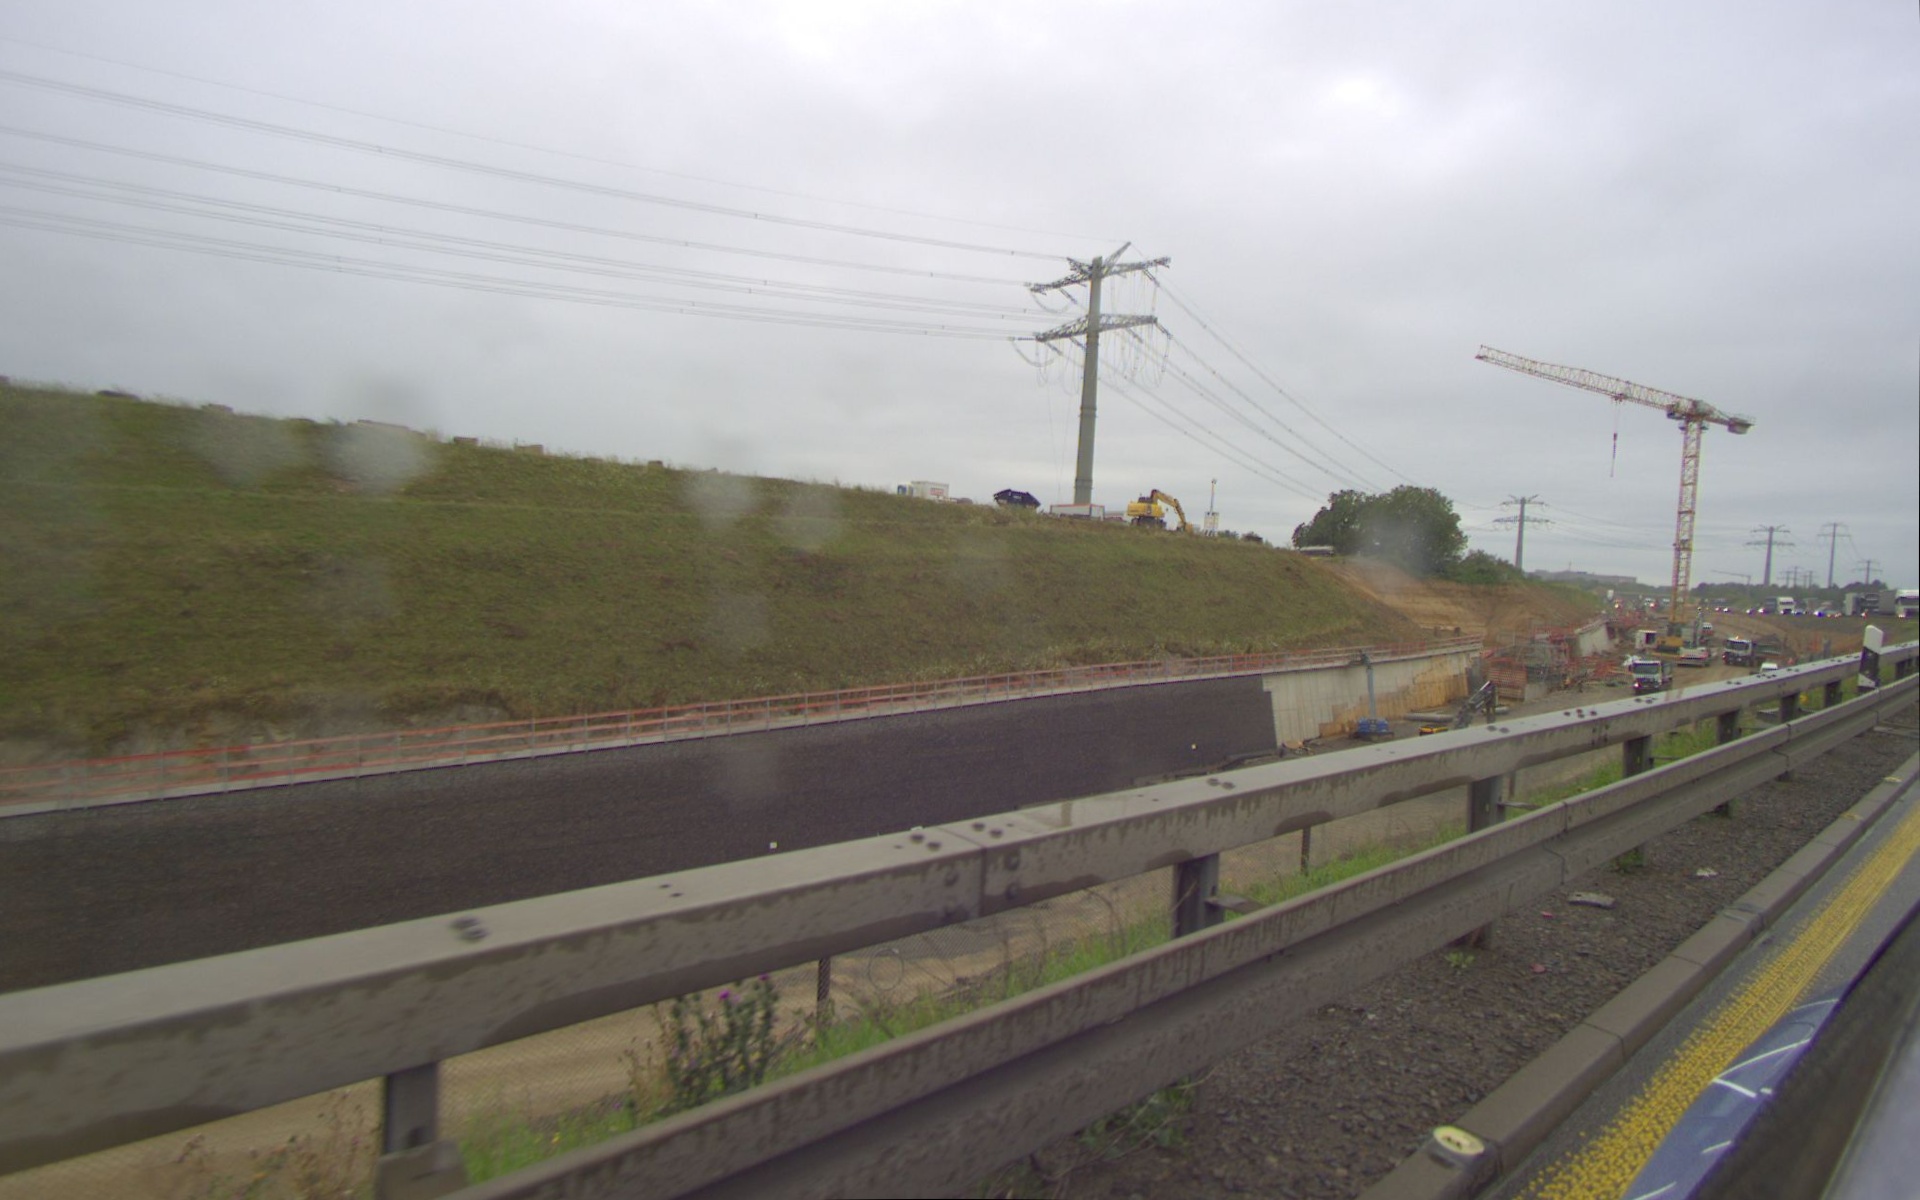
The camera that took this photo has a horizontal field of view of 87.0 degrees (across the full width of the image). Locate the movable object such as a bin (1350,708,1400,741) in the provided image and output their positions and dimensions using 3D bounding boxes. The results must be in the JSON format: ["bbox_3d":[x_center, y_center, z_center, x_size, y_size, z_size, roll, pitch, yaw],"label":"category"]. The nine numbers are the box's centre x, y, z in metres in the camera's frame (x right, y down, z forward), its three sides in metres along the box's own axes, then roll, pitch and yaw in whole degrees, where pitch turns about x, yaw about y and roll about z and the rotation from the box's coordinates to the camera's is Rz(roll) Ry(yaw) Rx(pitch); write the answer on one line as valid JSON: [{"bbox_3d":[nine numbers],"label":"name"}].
[{"bbox_3d":[30.670,9.158,74.747,2.513,1.935,3.209,-2,-1,41],"label":"movable object such as a bin"}]

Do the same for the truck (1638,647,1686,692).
[{"bbox_3d":[71.649,7.010,103.143,2.703,3.655,8.935,3,3,43],"label":"truck"}]

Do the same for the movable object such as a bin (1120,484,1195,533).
[{"bbox_3d":[19.726,-9.029,100.818,8.039,4.259,3.103,0,1,-43],"label":"movable object such as a bin"}]

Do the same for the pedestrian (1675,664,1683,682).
[{"bbox_3d":[81.242,8.205,114.320,0.601,1.928,0.605,3,2,40],"label":"pedestrian"}]

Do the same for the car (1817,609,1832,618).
[{"bbox_3d":[147.573,2.351,172.841,1.782,1.445,3.943,-1,0,39],"label":"car"}]

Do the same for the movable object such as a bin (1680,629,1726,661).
[{"bbox_3d":[93.699,5.600,127.591,6.539,3.467,3.513,-2,2,-42],"label":"movable object such as a bin"}]

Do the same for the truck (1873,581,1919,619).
[{"bbox_3d":[114.851,-0.027,123.509,4.299,4.400,13.218,-1,0,39],"label":"truck"}]

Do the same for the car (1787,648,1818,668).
[{"bbox_3d":[102.703,7.061,123.365,3.933,2.041,1.994,0,-13,-43],"label":"car"}]

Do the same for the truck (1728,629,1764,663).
[{"bbox_3d":[101.099,5.814,130.073,3.348,3.583,8.782,1,3,40],"label":"truck"}]

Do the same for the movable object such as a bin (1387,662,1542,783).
[{"bbox_3d":[32.056,7.374,63.904,11.894,5.740,4.897,-4,1,-44],"label":"movable object such as a bin"}]

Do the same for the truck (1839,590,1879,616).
[{"bbox_3d":[141.156,0.489,158.979,3.524,3.943,8.233,-1,0,34],"label":"truck"}]
